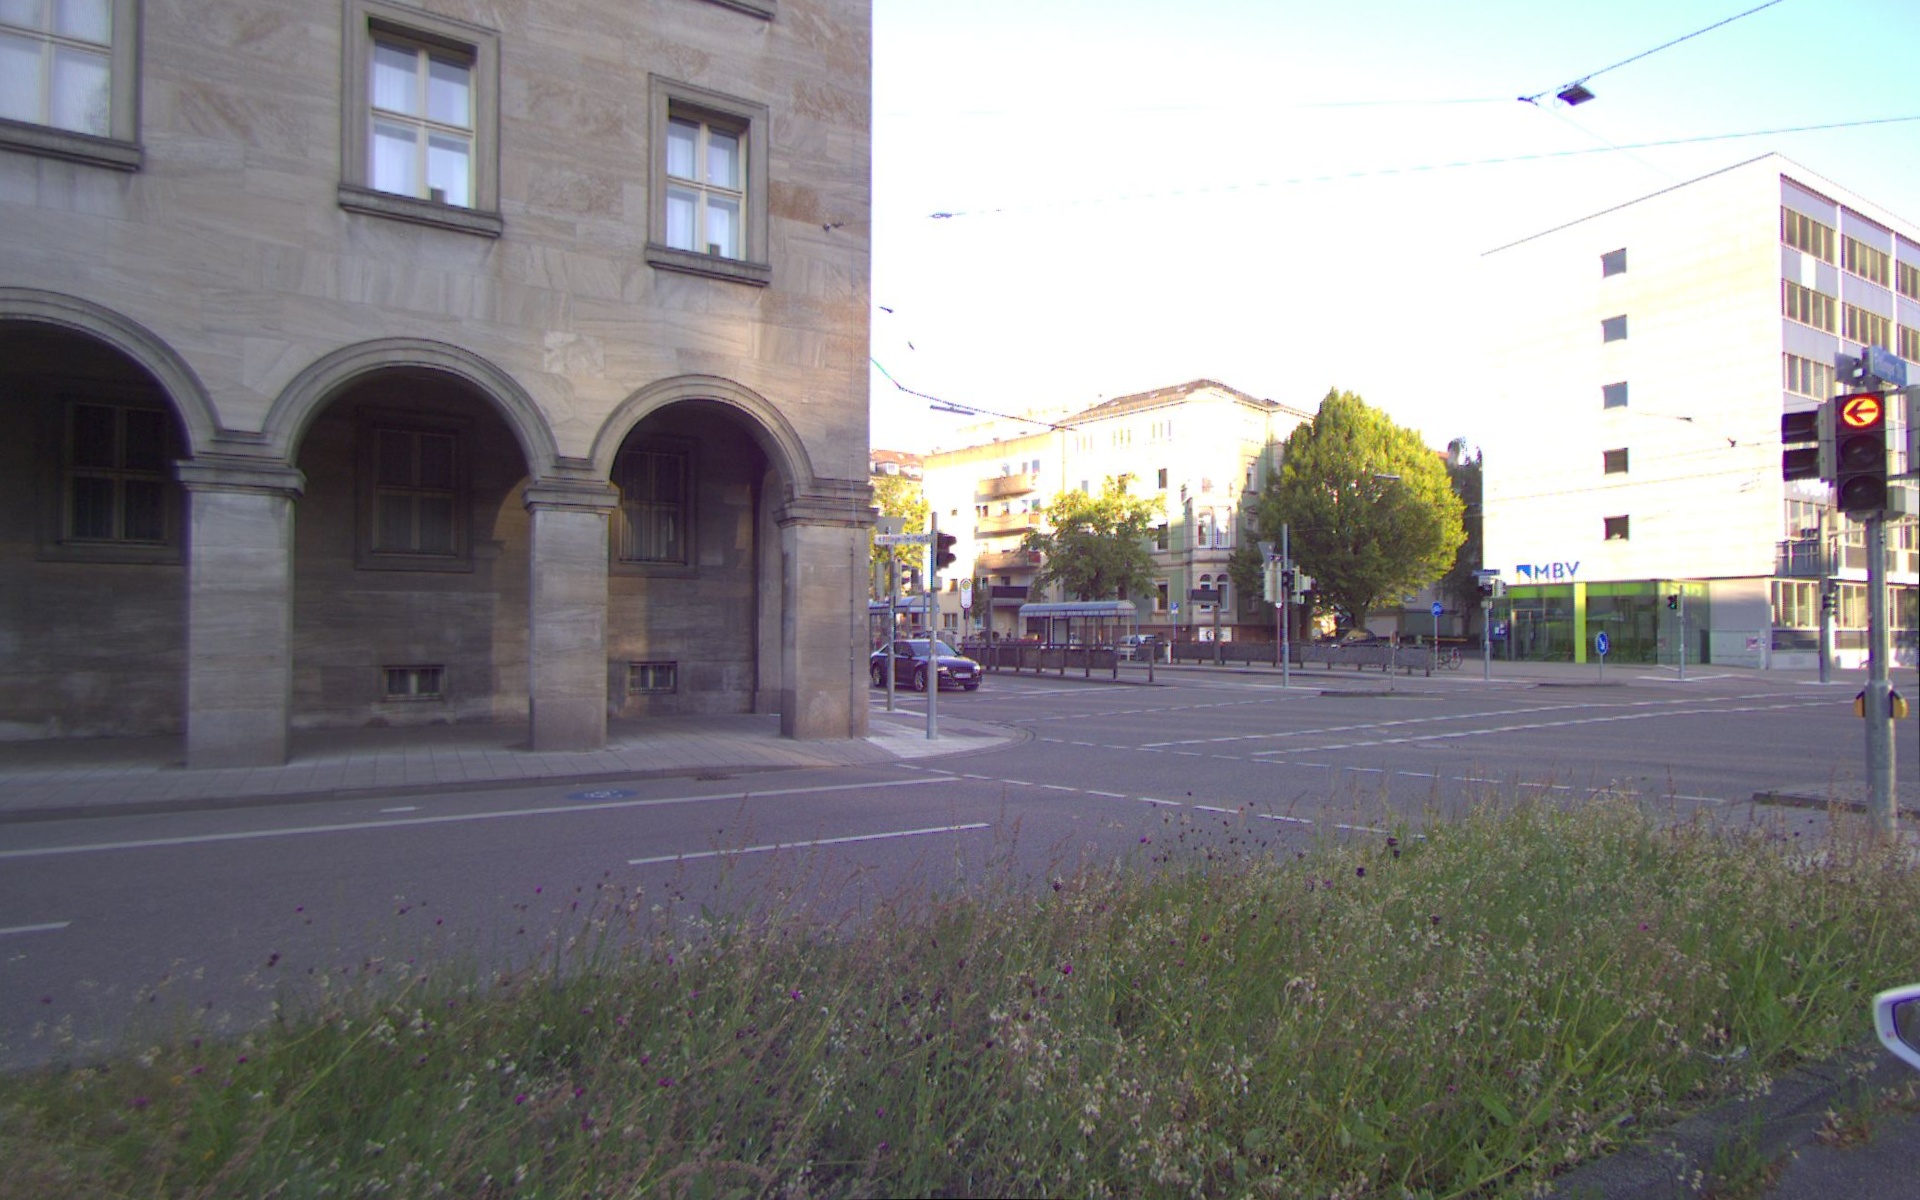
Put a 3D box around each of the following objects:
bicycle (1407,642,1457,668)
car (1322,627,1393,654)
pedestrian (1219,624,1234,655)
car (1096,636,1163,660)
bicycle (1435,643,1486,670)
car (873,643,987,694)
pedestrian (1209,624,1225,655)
[{"bbox_3d":[20.972,2.431,44.597,2.183,1.127,0.834,1,-2,-26],"label":"bicycle"},{"bbox_3d":[21.619,2.201,54.585,3.553,1.390,1.826,1,-2,-32],"label":"car"},{"bbox_3d":[15.930,2.357,60.037,0.718,1.813,0.634,2,-2,-43],"label":"pedestrian"},{"bbox_3d":[9.974,2.798,59.242,3.545,1.390,1.830,-2,-3,45],"label":"car"},{"bbox_3d":[21.717,2.425,43.547,2.183,1.127,0.834,1,-2,-26],"label":"bicycle"},{"bbox_3d":[-0.974,1.974,29.750,1.791,1.344,4.120,1,-2,-27],"label":"car"},{"bbox_3d":[15.249,2.331,59.641,0.718,1.813,0.634,2,-2,-44],"label":"pedestrian"}]
